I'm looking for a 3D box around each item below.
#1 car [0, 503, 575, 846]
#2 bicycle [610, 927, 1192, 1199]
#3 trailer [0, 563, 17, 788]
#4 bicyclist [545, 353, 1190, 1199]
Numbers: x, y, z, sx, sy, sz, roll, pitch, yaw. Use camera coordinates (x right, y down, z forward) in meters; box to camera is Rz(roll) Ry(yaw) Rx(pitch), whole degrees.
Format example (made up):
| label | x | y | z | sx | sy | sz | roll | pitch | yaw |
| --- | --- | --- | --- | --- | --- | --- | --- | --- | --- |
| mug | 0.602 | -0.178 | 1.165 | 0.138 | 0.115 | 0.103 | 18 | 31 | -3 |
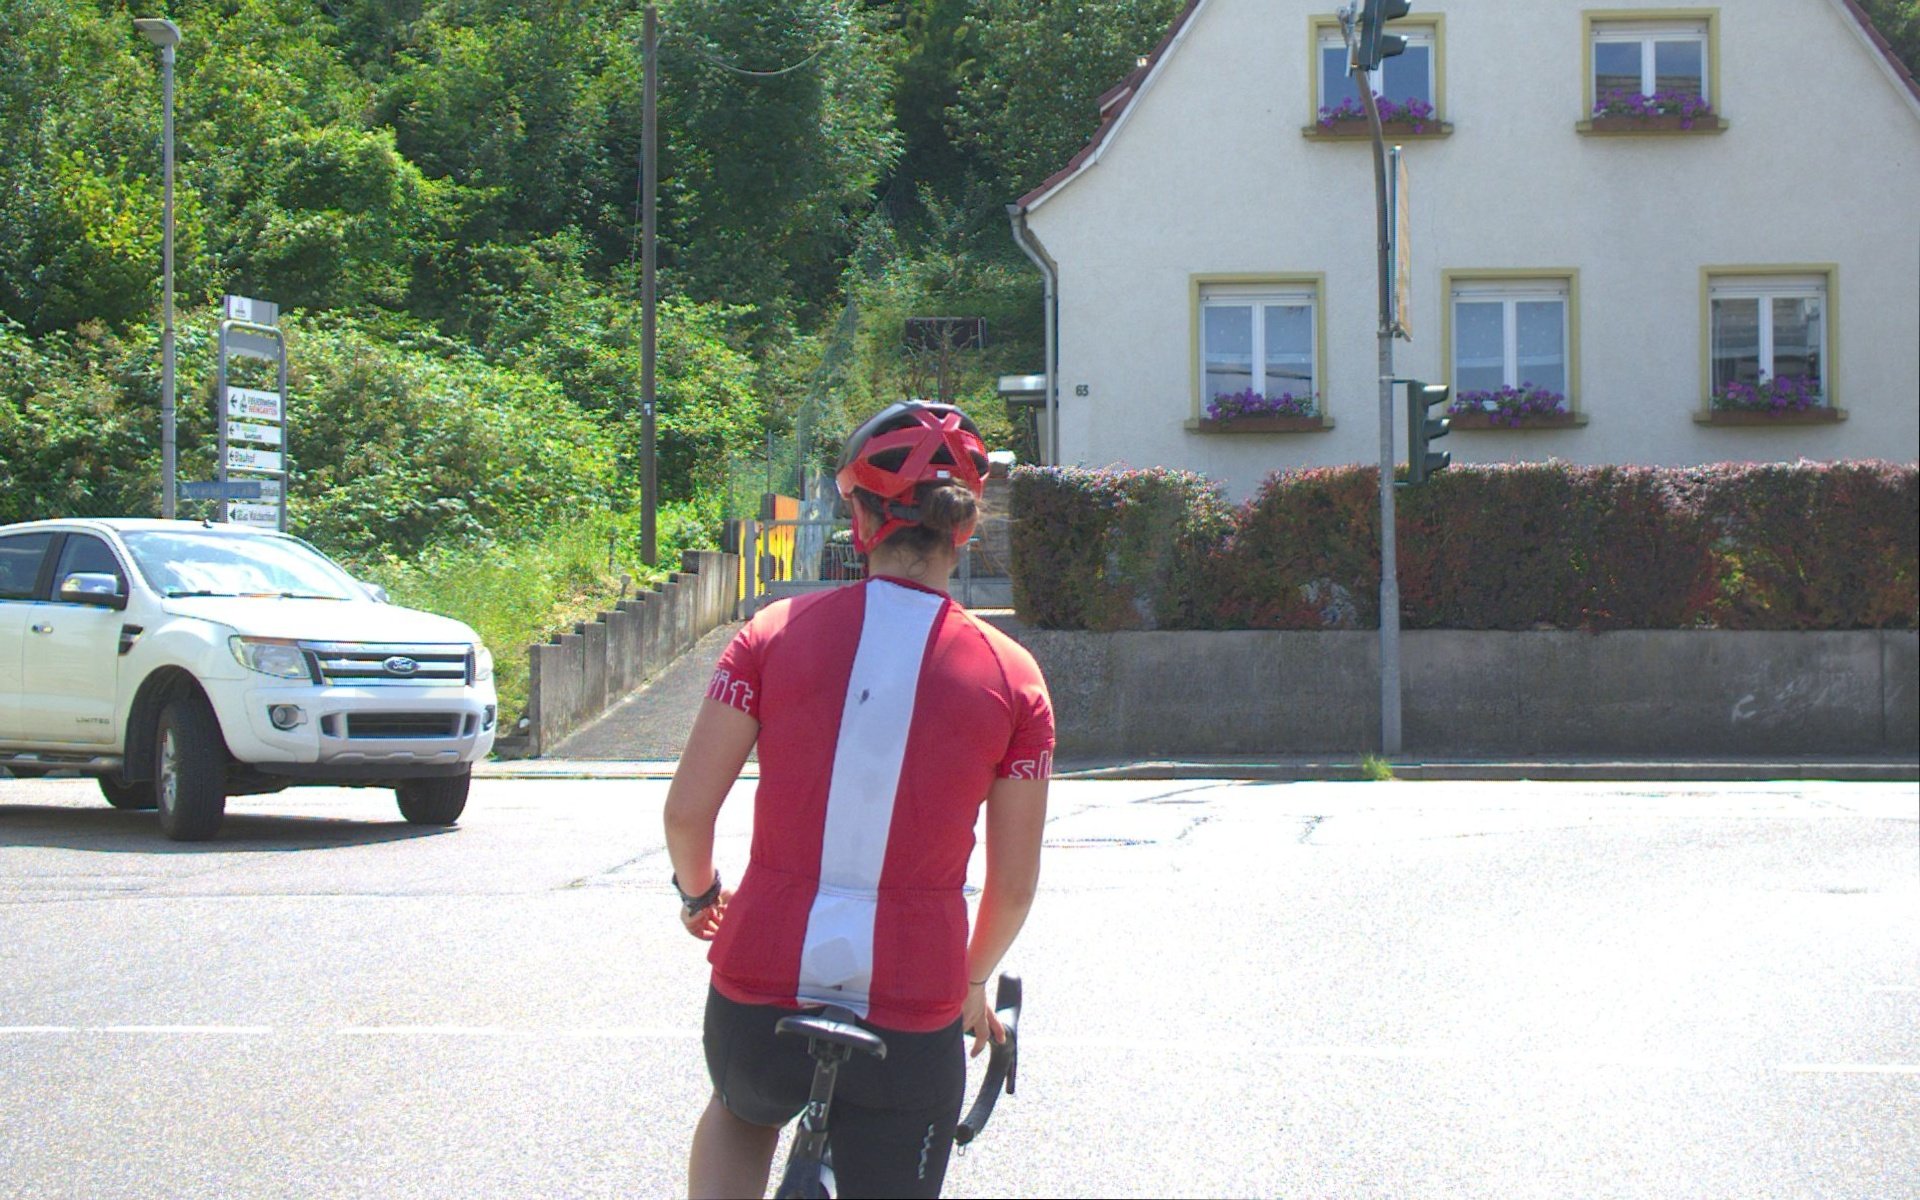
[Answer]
| label | x | y | z | sx | sy | sz | roll | pitch | yaw |
| --- | --- | --- | --- | --- | --- | --- | --- | --- | --- |
| car | -4.747 | 0.383 | 20.456 | 1.974 | 1.769 | 5.311 | -2 | 1 | -45 |
| bicycle | -0.150 | 0.977 | 4.564 | 0.629 | 0.902 | 1.657 | 1 | 1 | -6 |
| trailer | -8.914 | 0.570 | 23.450 | 4.435 | 1.534 | 1.977 | -1 | 1 | 21 |
| bicyclist | -0.151 | 0.535 | 4.584 | 0.760 | 1.659 | 0.869 | 1 | 1 | -5 |
